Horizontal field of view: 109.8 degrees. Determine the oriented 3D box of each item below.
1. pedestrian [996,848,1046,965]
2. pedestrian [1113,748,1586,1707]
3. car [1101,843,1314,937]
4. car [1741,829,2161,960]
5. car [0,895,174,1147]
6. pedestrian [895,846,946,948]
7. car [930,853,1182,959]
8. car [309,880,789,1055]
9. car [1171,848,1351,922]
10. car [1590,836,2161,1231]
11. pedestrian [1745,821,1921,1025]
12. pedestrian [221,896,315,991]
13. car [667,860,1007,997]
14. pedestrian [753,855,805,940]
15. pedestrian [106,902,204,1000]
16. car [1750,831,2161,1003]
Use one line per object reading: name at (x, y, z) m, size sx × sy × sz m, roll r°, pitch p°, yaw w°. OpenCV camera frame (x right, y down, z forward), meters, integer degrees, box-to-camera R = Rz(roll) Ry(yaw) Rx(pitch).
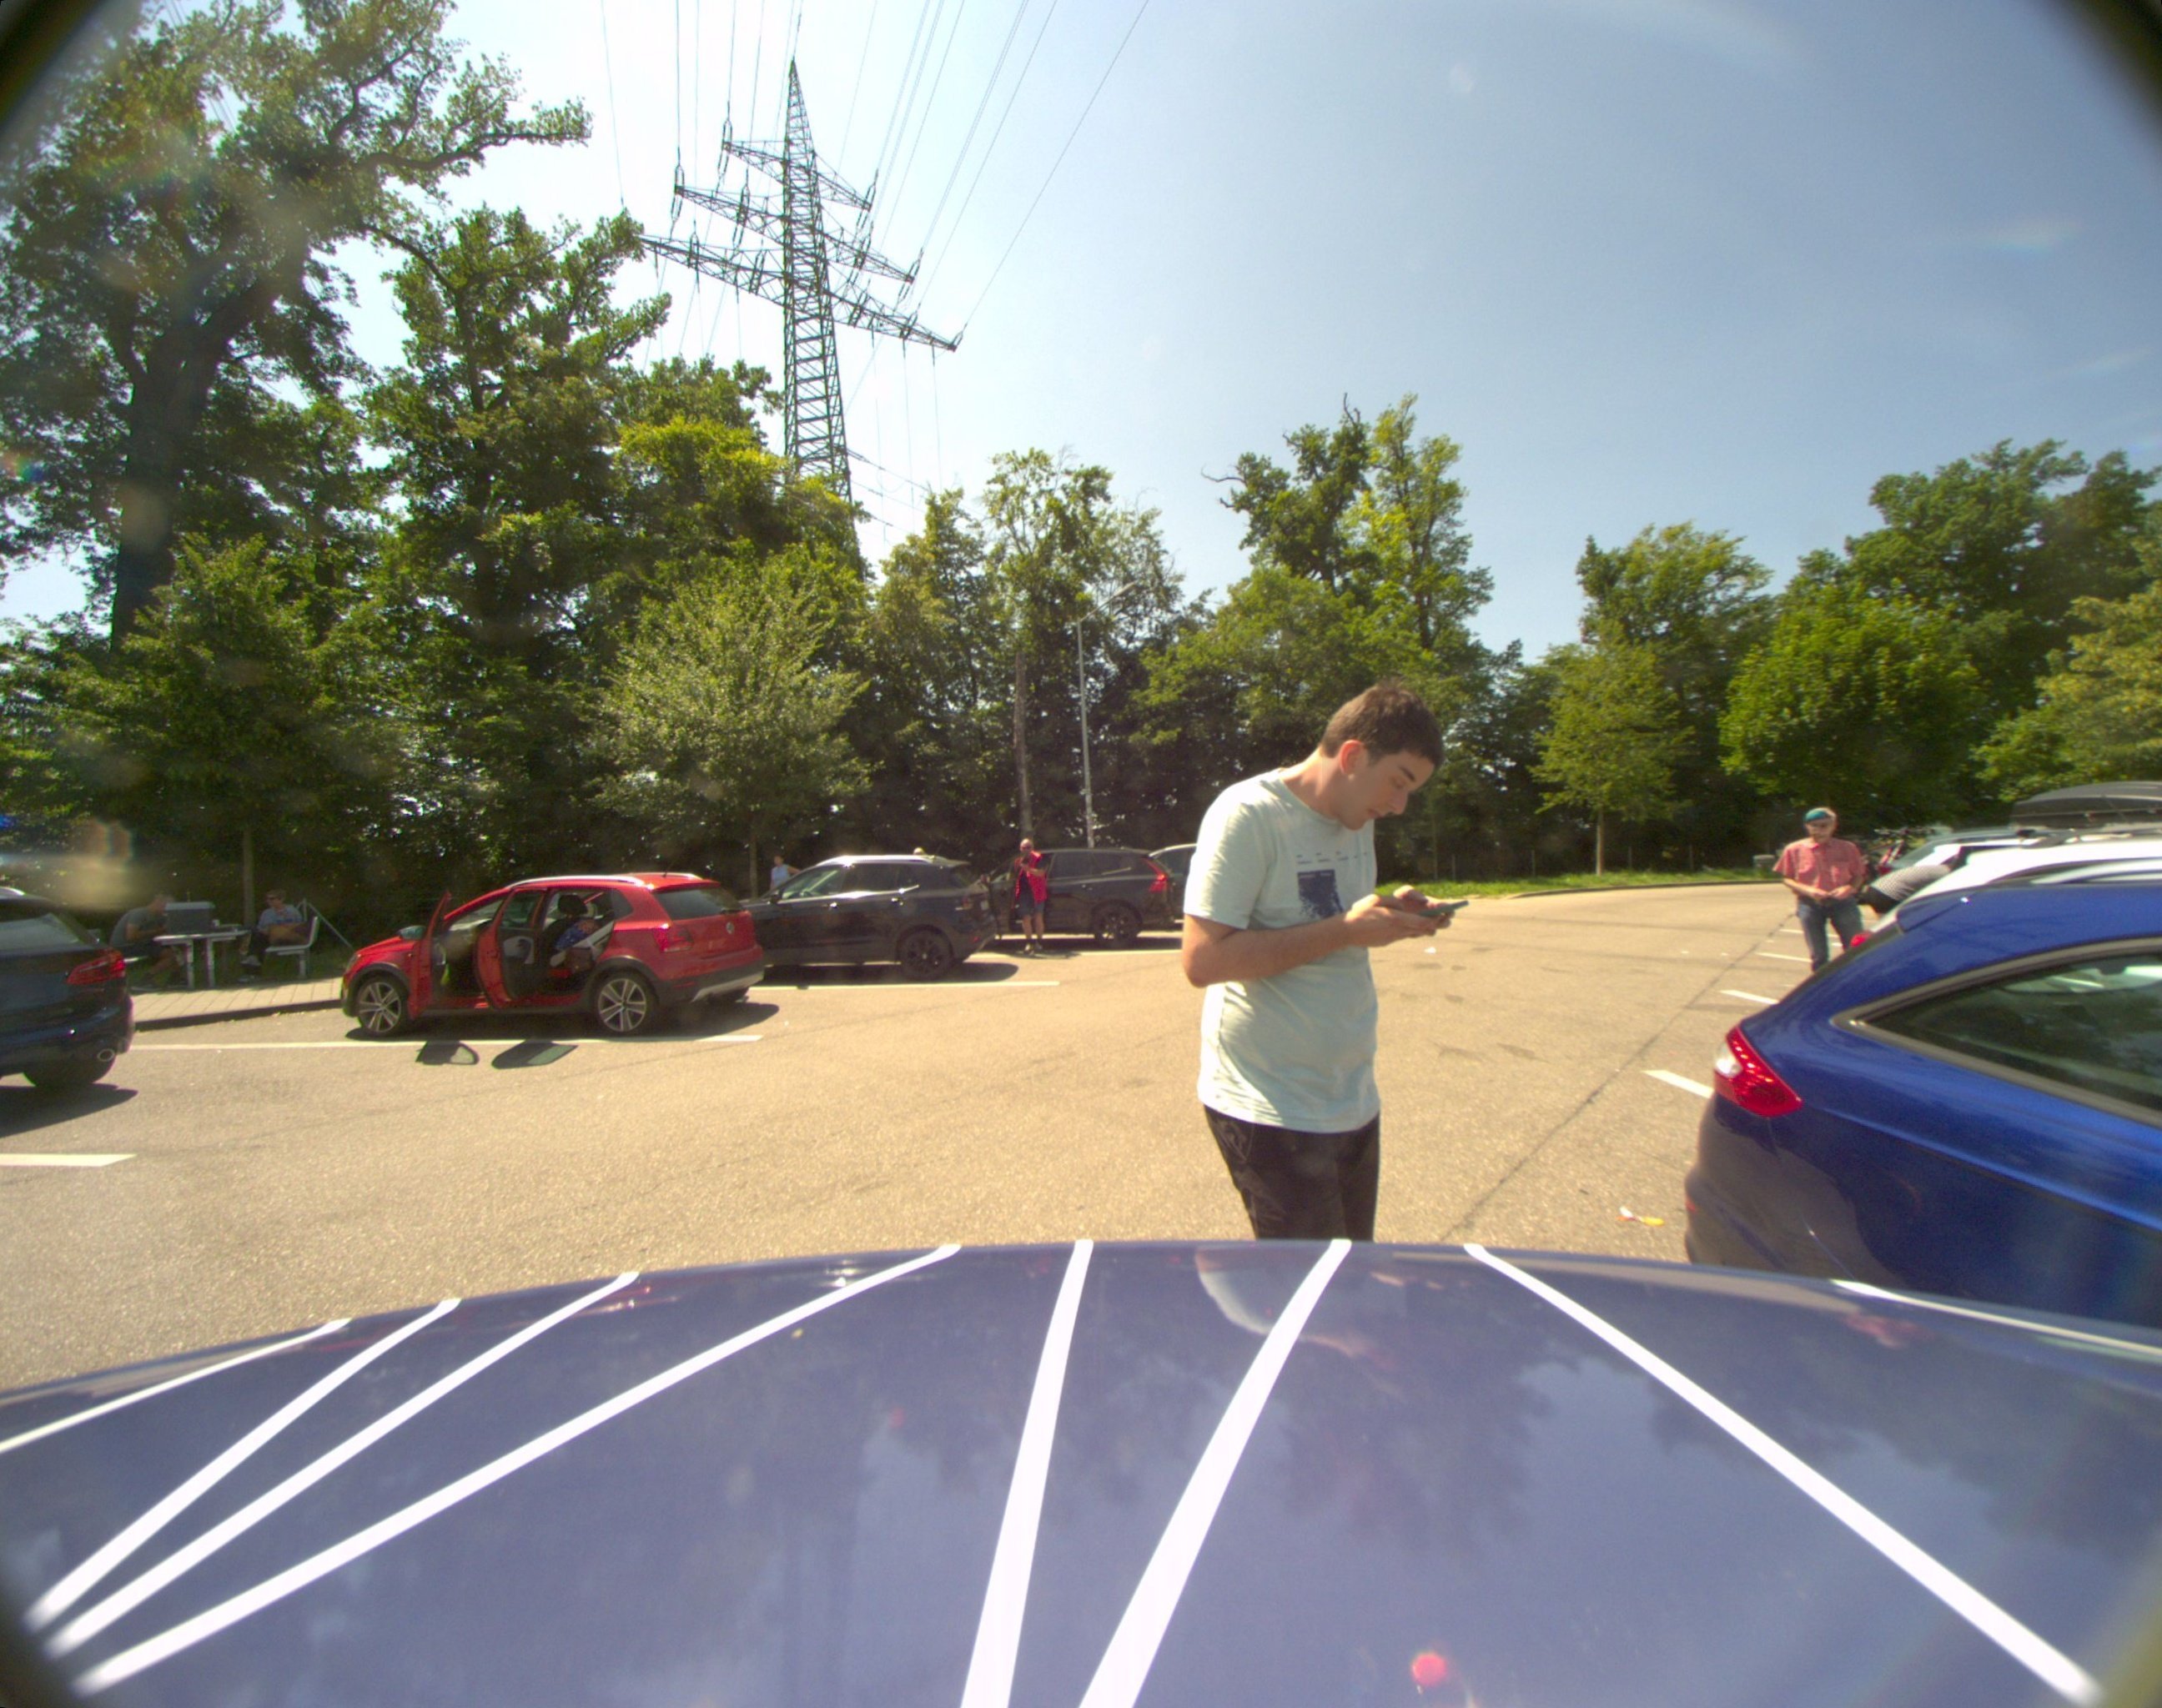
pedestrian at (-0.919, 0.794, 11.774) m, size 0.660 × 1.745 × 0.636 m, roll -2°, pitch 0°, yaw 1°
pedestrian at (0.447, 0.694, 1.513) m, size 0.687 × 1.699 × 0.578 m, roll -2°, pitch 0°, yaw 1°
car at (2.506, 0.701, 15.437) m, size 3.964 × 1.678 × 1.781 m, roll -2°, pitch 0°, yaw 7°
car at (12.362, 0.479, 10.929) m, size 1.779 × 1.456 × 4.470 m, roll -2°, pitch -1°, yaw 0°
car at (-8.921, 1.161, 4.988) m, size 4.011 × 1.558 × 1.846 m, roll -2°, pitch 0°, yaw 6°
pedestrian at (-3.040, 0.791, 14.379) m, size 0.682 × 1.854 × 0.713 m, roll -2°, pitch 0°, yaw -30°
car at (-0.330, 0.844, 12.945) m, size 3.964 × 1.582 × 1.781 m, roll -2°, pitch 0°, yaw 8°
car at (-5.196, 1.077, 7.706) m, size 3.704 × 1.448 × 1.781 m, roll -2°, pitch 0°, yaw 7°
car at (4.175, 0.717, 18.189) m, size 3.964 × 1.577 × 1.781 m, roll -2°, pitch 0°, yaw 7°
car at (4.891, 0.660, 3.682) m, size 1.779 × 1.456 × 4.470 m, roll -2°, pitch -1°, yaw 0°
pedestrian at (6.266, 0.550, 6.378) m, size 0.672 × 1.592 × 0.759 m, roll -2°, pitch 0°, yaw 1°
pedestrian at (-11.850, 1.283, 11.079) m, size 0.828 × 1.287 × 0.672 m, roll -2°, pitch 0°, yaw 24°
car at (-3.149, 0.943, 10.366) m, size 3.966 × 1.582 × 1.841 m, roll -2°, pitch 0°, yaw 3°
pedestrian at (-5.901, 0.833, 14.899) m, size 0.715 × 1.584 × 0.809 m, roll -2°, pitch 0°, yaw -7°
pedestrian at (-12.739, 1.311, 10.461) m, size 0.652 × 1.262 × 0.672 m, roll -2°, pitch 0°, yaw 24°
car at (10.061, 0.535, 8.145) m, size 1.779 × 1.456 × 4.470 m, roll -2°, pitch -1°, yaw 0°
